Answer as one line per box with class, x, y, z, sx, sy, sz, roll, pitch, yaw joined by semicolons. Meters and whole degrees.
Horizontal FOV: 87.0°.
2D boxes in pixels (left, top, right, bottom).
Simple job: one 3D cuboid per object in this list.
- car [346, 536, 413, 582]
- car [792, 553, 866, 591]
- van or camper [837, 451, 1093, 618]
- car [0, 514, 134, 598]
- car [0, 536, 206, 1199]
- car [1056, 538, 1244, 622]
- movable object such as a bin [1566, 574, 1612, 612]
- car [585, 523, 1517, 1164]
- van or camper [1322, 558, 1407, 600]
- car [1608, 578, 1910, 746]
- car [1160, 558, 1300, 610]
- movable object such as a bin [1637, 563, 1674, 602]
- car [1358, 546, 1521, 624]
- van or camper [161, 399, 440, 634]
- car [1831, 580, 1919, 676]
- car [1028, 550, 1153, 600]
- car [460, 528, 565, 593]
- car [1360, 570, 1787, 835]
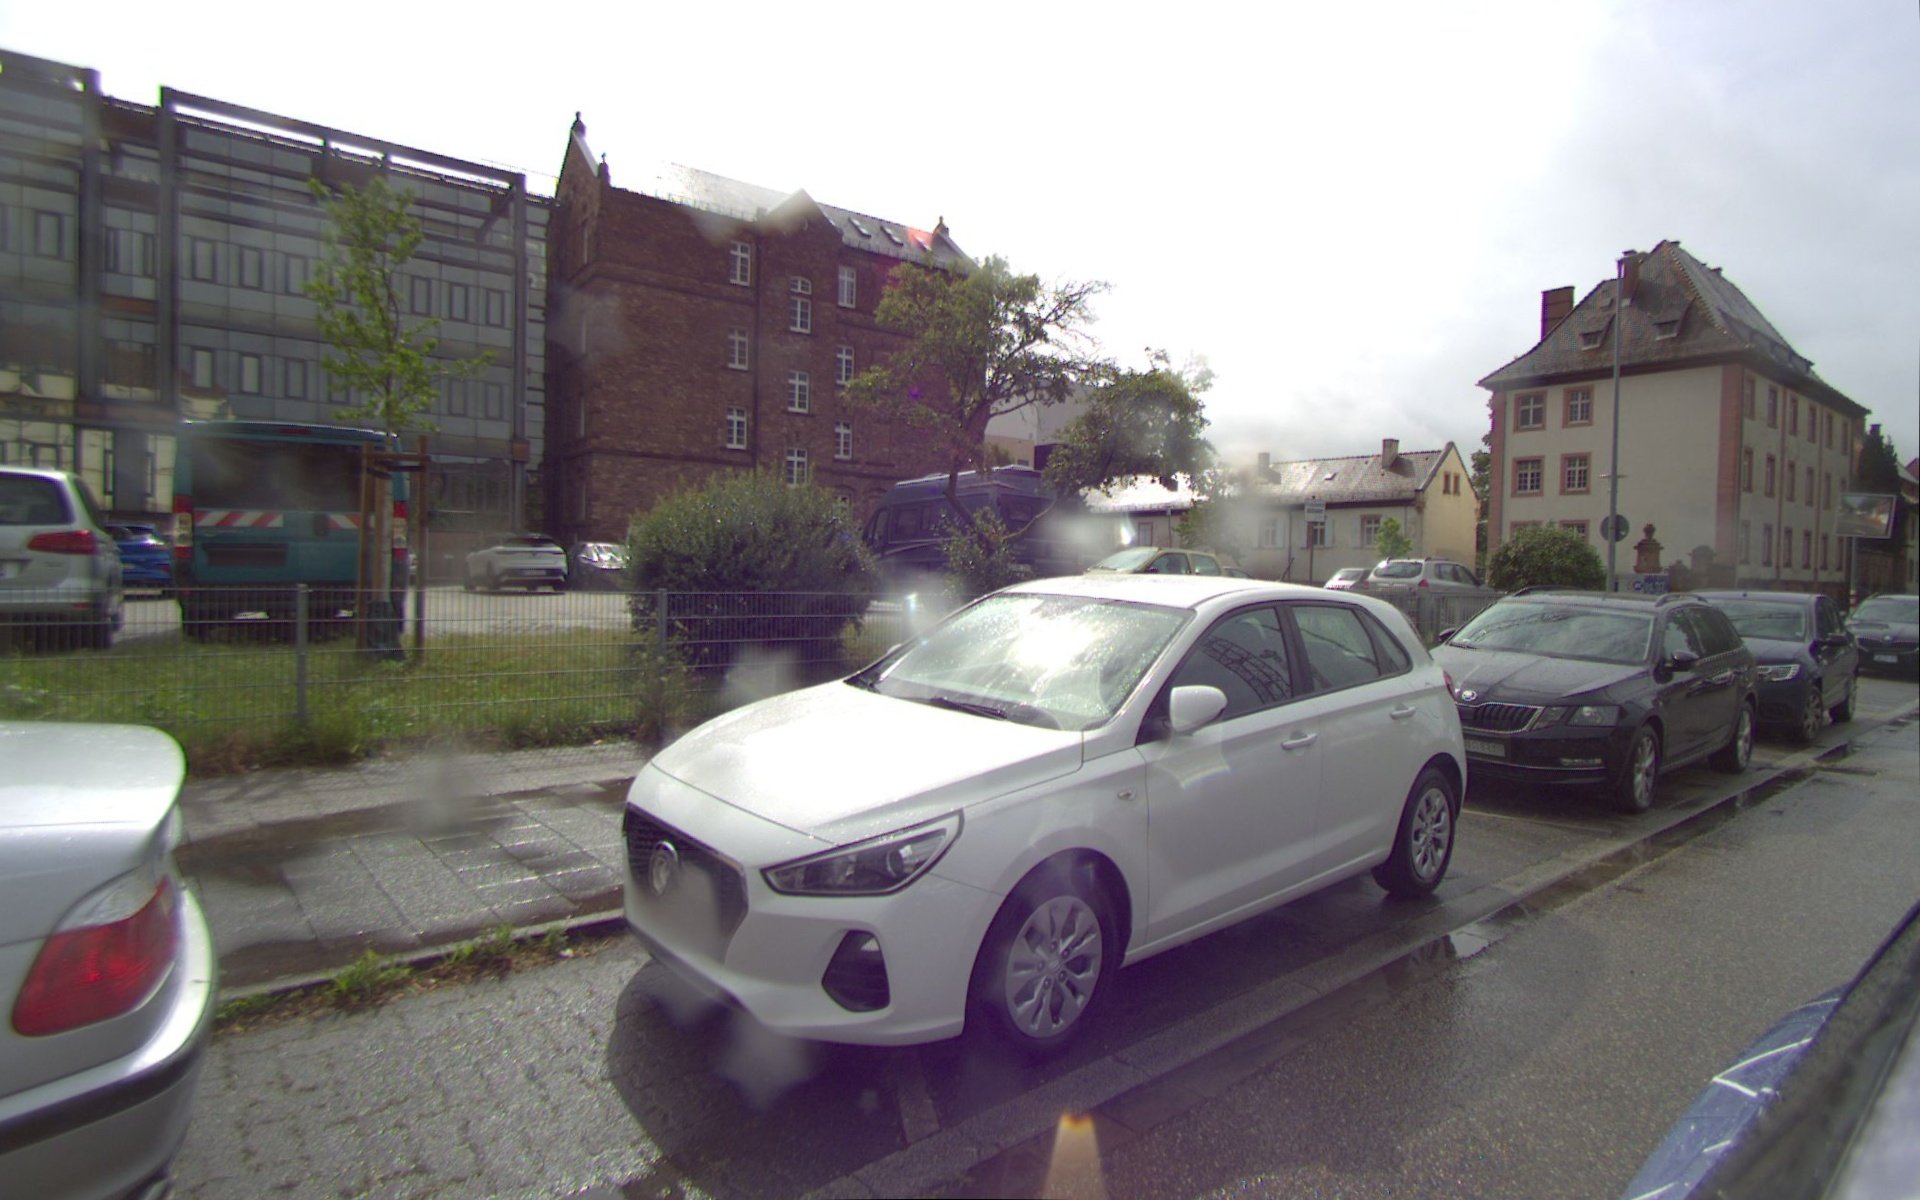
car;-19.090;-1.338;33.223;1.547;1.426;3.858;0;2;-35
car;-5.723;-1.236;44.019;1.641;1.543;3.680;0;3;-35
van or camper;-0.097;-1.117;18.415;2.134;2.586;5.015;-1;2;-36
car;-17.728;-0.882;20.176;1.608;1.504;3.681;0;3;-34
car;-3.321;0.647;0.852;4.186;1.471;1.718;0;1;-42
car;3.646;-0.385;19.303;3.351;1.466;1.617;0;3;-35
movable object such as a bin;25.629;-0.291;41.221;1.364;1.475;1.110;0;3;-36
car;0.702;0.529;4.405;4.041;1.526;1.752;-1;2;-42
van or camper;21.683;-1.112;54.192;5.088;2.143;1.794;0;0;-36
car;9.138;0.549;11.481;3.927;1.546;1.762;-1;3;-38
car;8.643;-0.501;32.307;4.337;1.545;1.836;0;2;-33
movable object such as a bin;27.079;-0.676;39.394;1.076;1.475;0.802;1;3;-36
car;11.951;-0.380;25.134;4.158;1.771;1.810;0;3;-36
van or camper;-7.705;-0.845;11.943;2.276;2.158;4.778;1;2;-33
car;17.785;0.490;18.689;4.299;1.558;1.779;0;4;-39
car;4.749;-0.888;36.634;4.339;1.699;1.860;0;3;-36
car;-11.241;-1.005;25.279;1.641;1.483;3.988;0;3;-35
car;5.019;0.578;8.054;4.086;1.526;1.609;-1;5;-40
